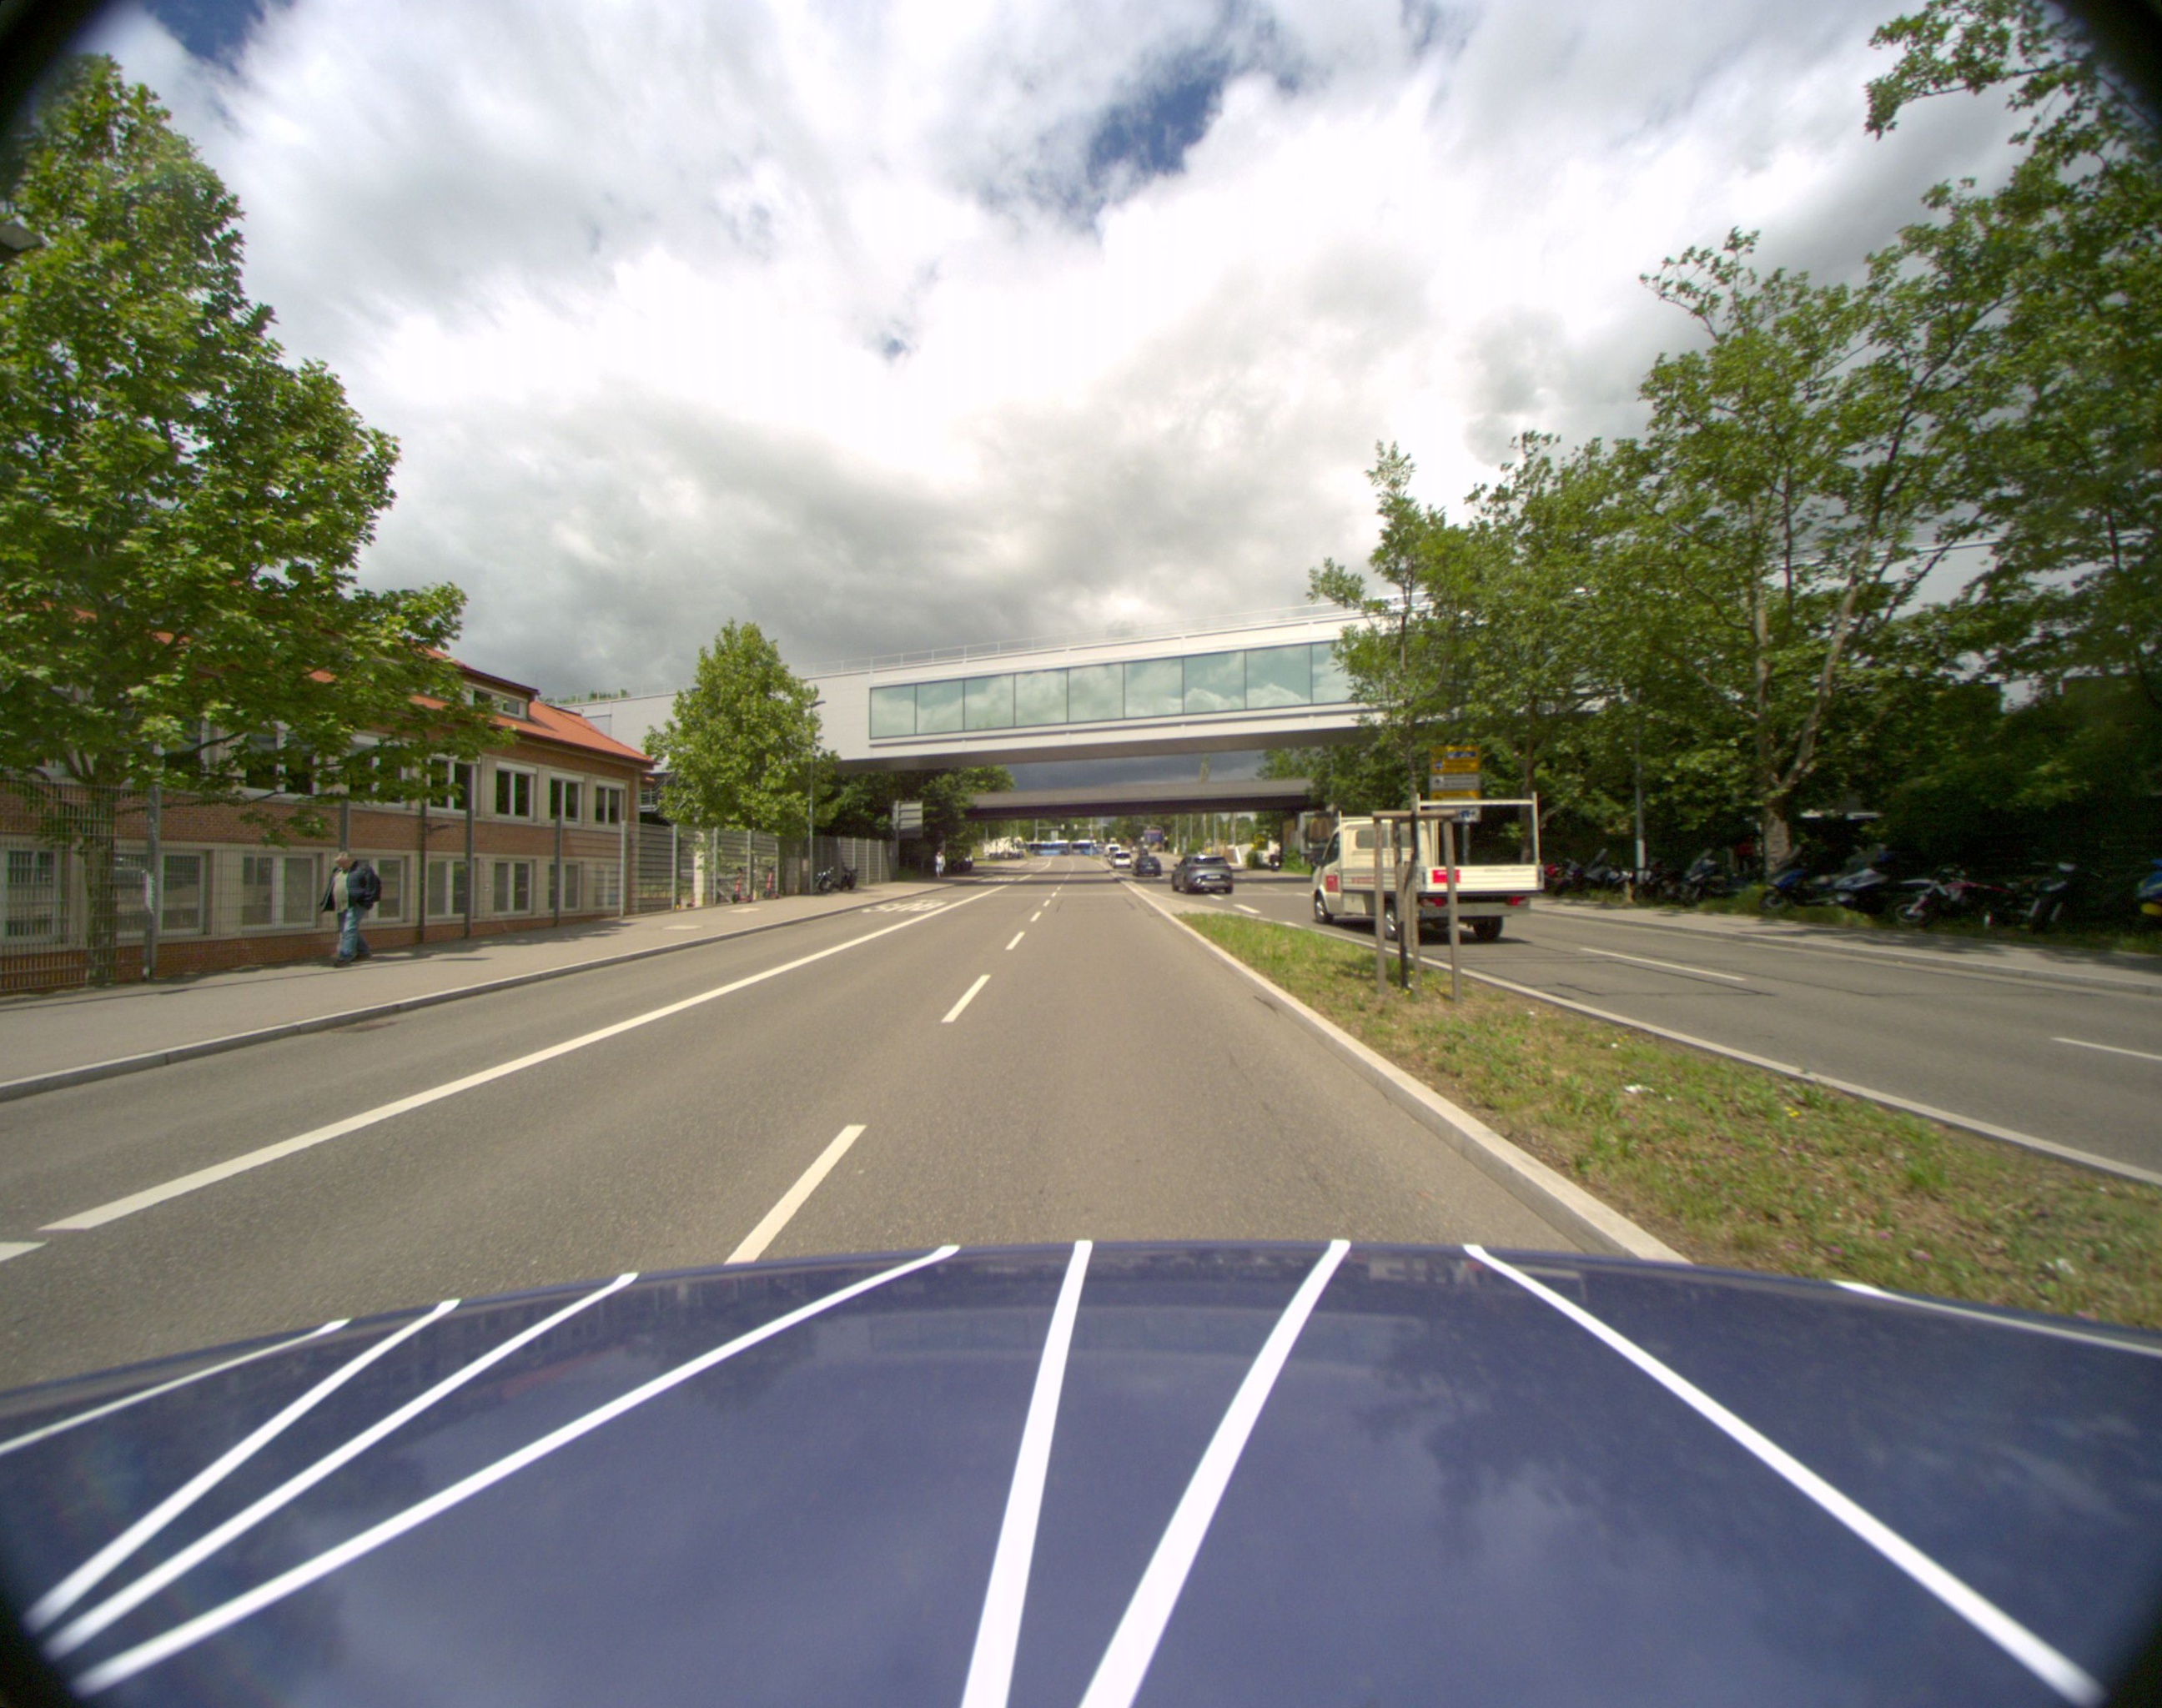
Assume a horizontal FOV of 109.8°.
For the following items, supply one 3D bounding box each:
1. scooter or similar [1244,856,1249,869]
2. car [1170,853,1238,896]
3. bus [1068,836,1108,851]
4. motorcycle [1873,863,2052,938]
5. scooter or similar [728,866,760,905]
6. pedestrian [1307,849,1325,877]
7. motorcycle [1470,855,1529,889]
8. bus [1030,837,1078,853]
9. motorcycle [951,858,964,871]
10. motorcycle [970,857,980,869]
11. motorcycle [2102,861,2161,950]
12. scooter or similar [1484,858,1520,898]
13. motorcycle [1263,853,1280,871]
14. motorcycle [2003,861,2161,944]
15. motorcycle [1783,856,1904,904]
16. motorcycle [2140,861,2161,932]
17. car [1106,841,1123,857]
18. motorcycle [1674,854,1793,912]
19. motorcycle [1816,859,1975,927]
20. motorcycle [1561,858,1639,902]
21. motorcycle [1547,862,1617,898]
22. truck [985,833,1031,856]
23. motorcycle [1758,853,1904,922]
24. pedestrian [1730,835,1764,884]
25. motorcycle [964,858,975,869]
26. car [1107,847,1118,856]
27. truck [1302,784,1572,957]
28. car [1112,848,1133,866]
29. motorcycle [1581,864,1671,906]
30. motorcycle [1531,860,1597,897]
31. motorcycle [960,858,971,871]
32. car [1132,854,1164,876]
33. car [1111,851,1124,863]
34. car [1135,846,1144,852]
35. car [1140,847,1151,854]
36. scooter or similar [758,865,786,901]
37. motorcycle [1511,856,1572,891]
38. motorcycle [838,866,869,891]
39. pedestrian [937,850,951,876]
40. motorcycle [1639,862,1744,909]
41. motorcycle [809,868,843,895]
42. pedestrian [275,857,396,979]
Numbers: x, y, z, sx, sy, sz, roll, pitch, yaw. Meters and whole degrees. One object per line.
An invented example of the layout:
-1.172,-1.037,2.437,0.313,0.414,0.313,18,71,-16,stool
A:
14.496,0.734,66.615,0.477,1.114,1.385,0,1,12,scooter or similar
5.009,0.802,31.536,1.910,1.621,4.291,-1,0,-3,car
1.335,-2.158,156.801,8.513,2.929,2.657,-1,2,42,bus
15.138,0.785,13.099,1.881,1.172,0.815,-3,-1,10,motorcycle
-11.624,1.086,26.235,0.492,1.287,1.336,0,1,1,scooter or similar
13.950,0.553,45.154,0.769,1.603,0.813,-3,1,0,pedestrian
15.646,0.676,28.439,1.745,1.164,0.777,-3,-1,9,motorcycle
-5.798,-1.853,161.011,9.766,2.919,2.655,-2,1,20,bus
-10.788,0.892,66.432,0.679,1.148,2.113,0,0,2,motorcycle
-10.299,0.867,73.693,0.679,1.076,2.180,0,0,0,motorcycle
15.951,0.696,10.759,1.882,1.202,0.655,-3,-1,5,motorcycle
13.687,0.771,24.725,0.355,1.229,1.479,-2,1,1,scooter or similar
14.019,0.586,55.856,0.641,1.191,2.257,-3,1,0,motorcycle
15.765,0.737,11.786,1.882,1.172,0.699,-3,-1,5,motorcycle
19.246,0.664,19.251,1.933,1.109,0.923,-4,-1,28,motorcycle
18.862,0.705,12.325,0.654,1.202,1.984,-3,-1,5,motorcycle
5.471,-0.754,122.577,2.044,2.458,5.576,-2,0,10,car
15.614,0.696,18.255,1.934,1.283,0.894,-3,-1,21,motorcycle
15.504,0.741,14.524,1.880,1.172,0.816,-3,-1,16,motorcycle
15.293,0.761,22.403,1.752,1.172,0.852,-3,-1,-10,motorcycle
15.490,0.802,23.504,1.595,1.027,0.776,-3,-1,2,motorcycle
-13.602,-1.736,140.872,2.795,3.981,10.058,-2,0,-44,truck
15.572,0.694,15.855,1.934,1.336,0.866,-3,-1,21,motorcycle
23.583,0.176,26.897,0.883,1.692,0.986,0,1,41,pedestrian
-10.450,0.885,71.279,0.679,1.076,2.038,0,0,0,motorcycle
6.061,-0.466,146.841,1.827,1.796,4.254,-2,0,0,car
6.634,0.262,15.363,2.485,2.735,6.458,-1,0,1,truck
4.246,0.321,78.307,1.813,1.770,4.977,-1,0,0,car
15.213,0.858,21.243,1.938,1.109,0.920,1,1,-10,motorcycle
15.797,0.799,24.871,1.595,1.116,0.776,-3,-1,2,motorcycle
-10.462,0.907,68.880,0.679,1.137,2.160,0,0,0,motorcycle
4.757,0.745,54.364,1.713,1.445,4.478,-1,0,-2,car
4.767,0.403,100.298,1.510,1.480,3.115,-1,1,-2,car
13.821,-1.131,179.325,1.998,1.478,4.000,0,0,2,car
12.695,-0.657,150.251,1.998,1.346,4.000,0,0,2,car
-11.601,1.064,28.569,0.492,1.287,1.336,0,1,1,scooter or similar
15.803,0.667,26.095,1.596,1.116,0.776,-3,-1,-8,motorcycle
-10.907,1.158,36.554,0.709,1.058,2.510,2,0,0,motorcycle
-9.972,0.666,55.233,0.791,1.877,1.097,0,1,0,pedestrian
15.687,0.805,19.597,1.933,1.109,0.923,-4,-1,28,motorcycle
-11.108,1.168,33.152,0.670,1.058,2.247,2,0,0,motorcycle
-11.110,0.918,11.359,0.879,1.733,0.940,1,1,0,pedestrian
